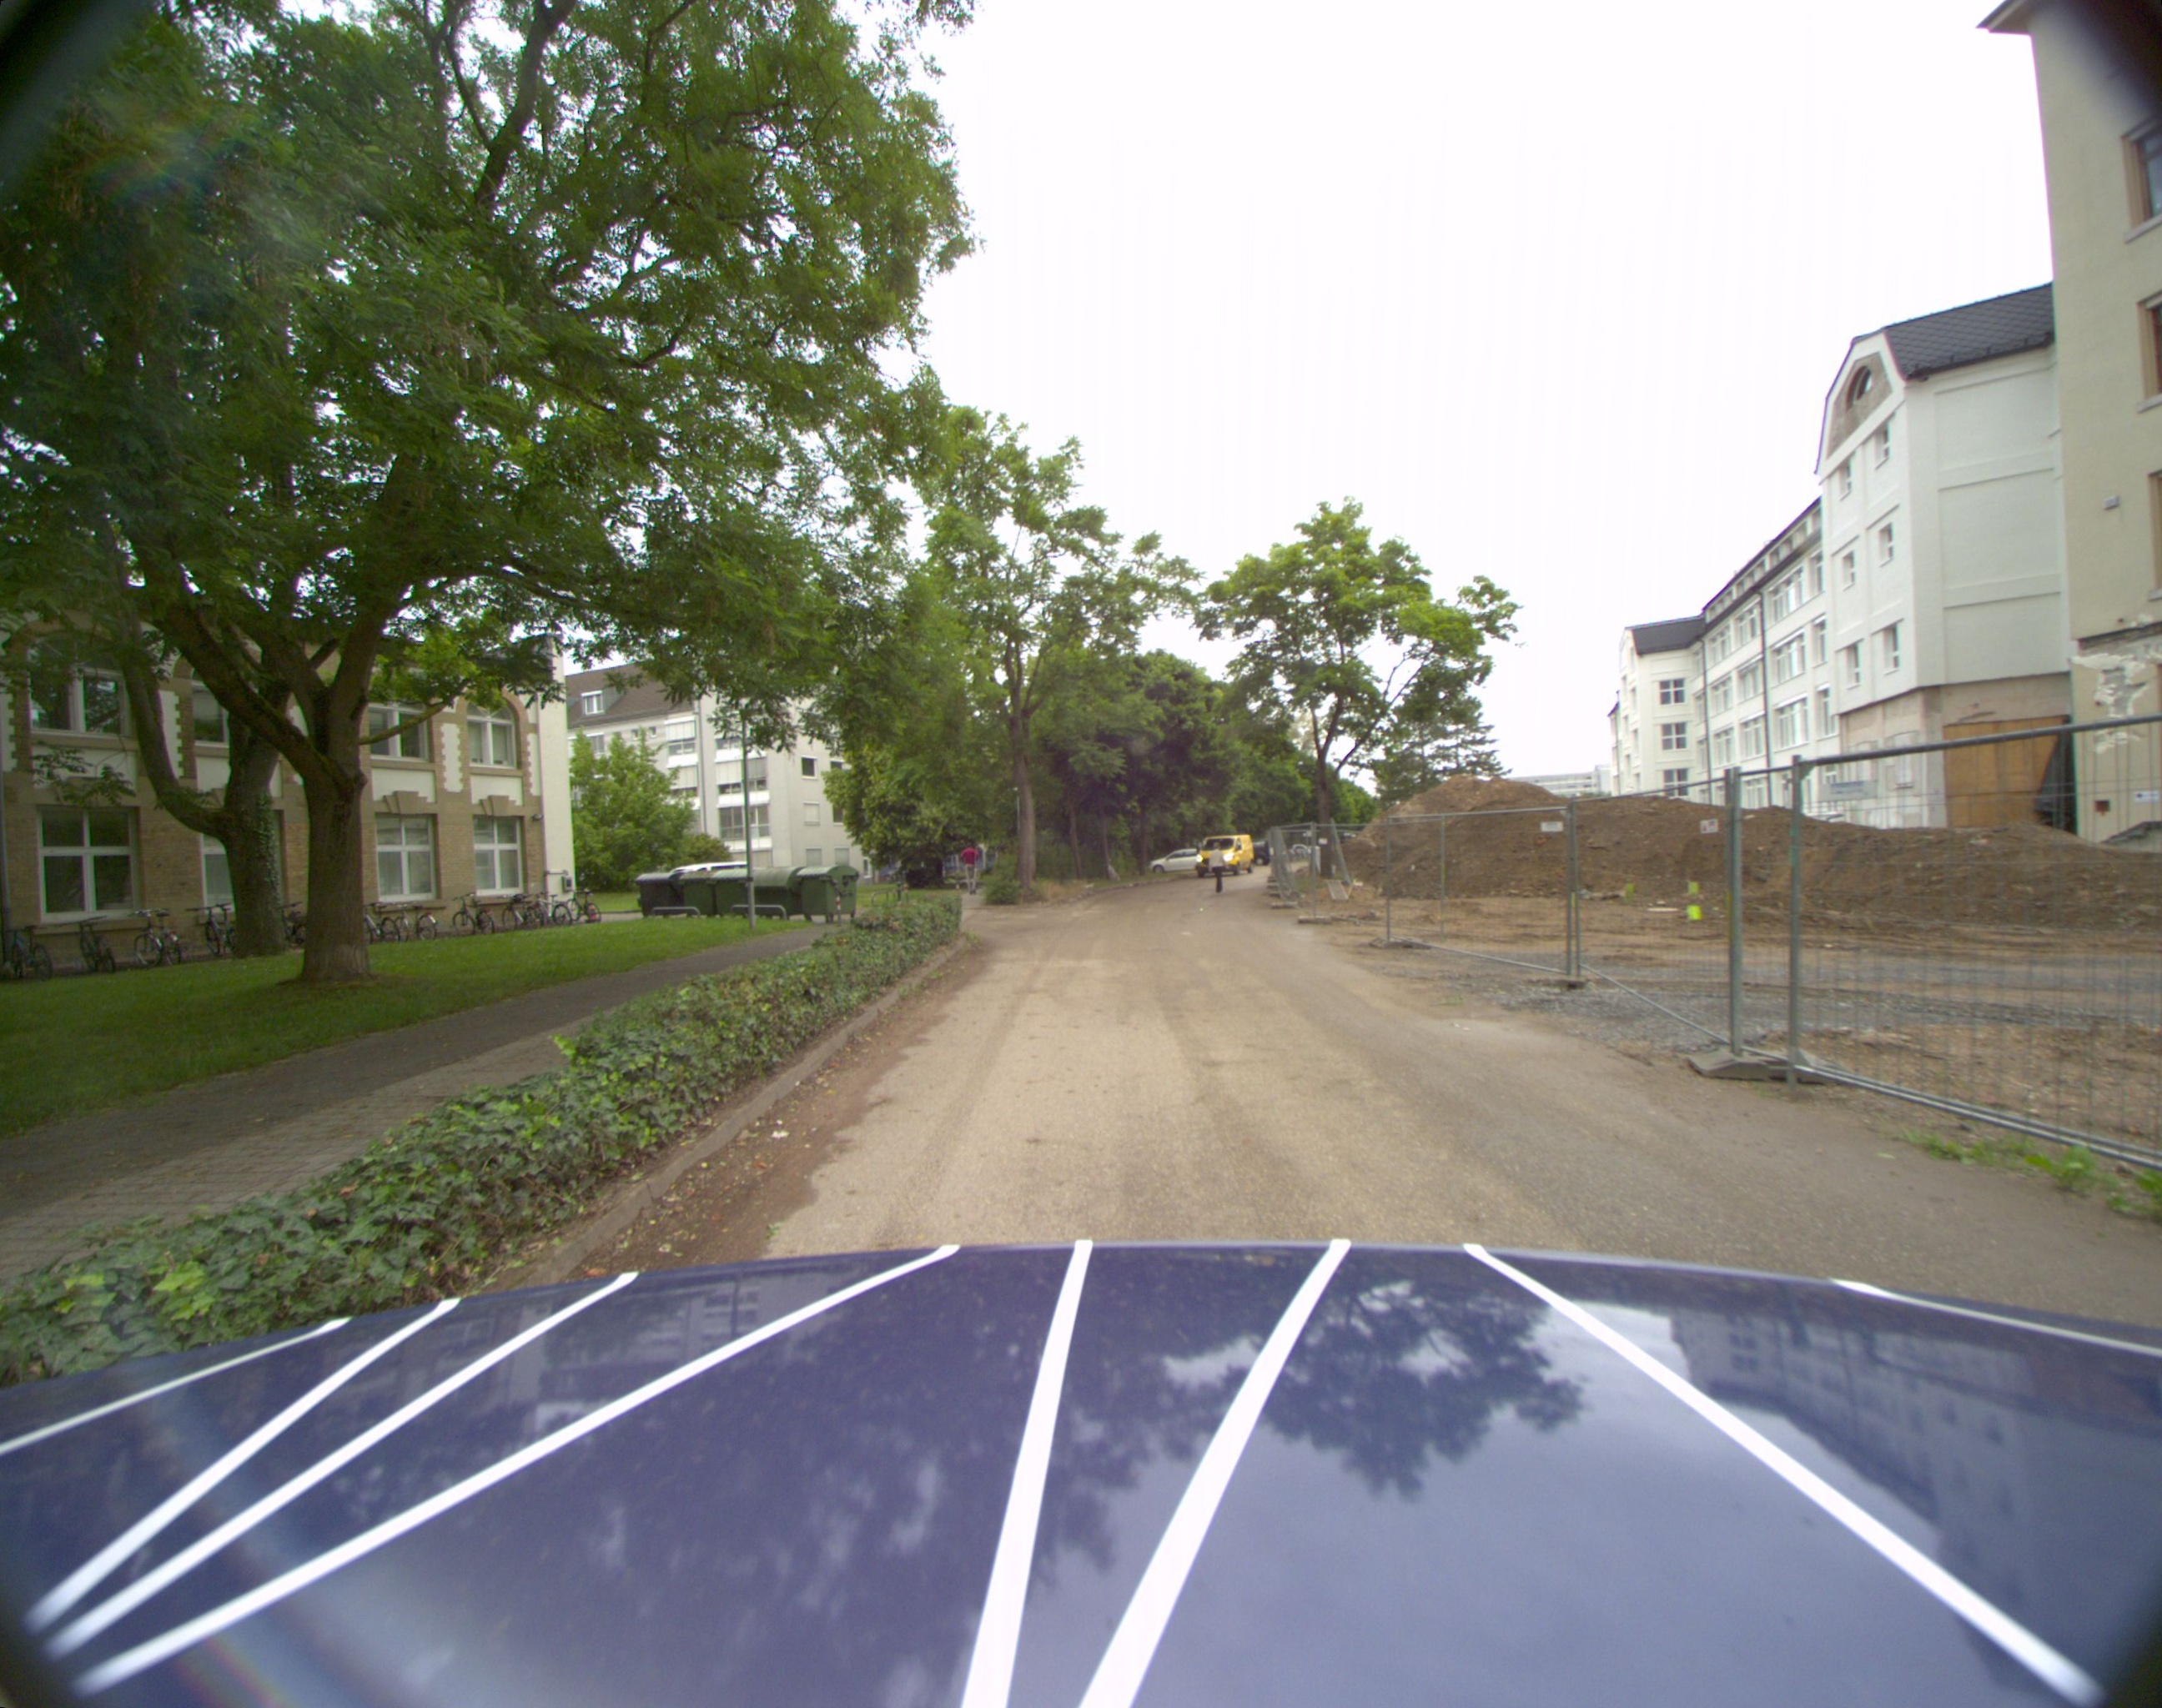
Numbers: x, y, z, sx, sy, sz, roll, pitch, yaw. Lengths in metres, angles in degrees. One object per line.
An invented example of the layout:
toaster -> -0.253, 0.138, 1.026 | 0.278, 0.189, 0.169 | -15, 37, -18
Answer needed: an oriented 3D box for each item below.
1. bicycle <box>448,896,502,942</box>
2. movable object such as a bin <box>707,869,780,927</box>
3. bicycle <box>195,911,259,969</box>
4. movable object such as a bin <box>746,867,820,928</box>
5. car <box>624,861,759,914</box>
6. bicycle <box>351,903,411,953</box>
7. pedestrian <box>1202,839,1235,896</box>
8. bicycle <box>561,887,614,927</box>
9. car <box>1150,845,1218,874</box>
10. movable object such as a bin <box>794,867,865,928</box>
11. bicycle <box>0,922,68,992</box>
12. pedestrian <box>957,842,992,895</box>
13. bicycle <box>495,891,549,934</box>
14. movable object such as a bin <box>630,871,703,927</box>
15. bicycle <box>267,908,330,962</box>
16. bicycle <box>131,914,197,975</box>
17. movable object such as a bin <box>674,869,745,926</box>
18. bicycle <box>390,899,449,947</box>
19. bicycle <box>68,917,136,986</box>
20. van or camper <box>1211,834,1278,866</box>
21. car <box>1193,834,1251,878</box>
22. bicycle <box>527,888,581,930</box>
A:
bicycle -> -15.677, 1.674, 19.644 | 1.740, 1.108, 0.461 | -2, 1, 30
movable object such as a bin -> -9.005, 1.155, 20.293 | 1.291, 1.442, 1.110 | -3, 1, 23
bicycle -> -17.761, 1.771, 15.796 | 1.740, 1.108, 0.461 | -2, 1, 28
movable object such as a bin -> -7.647, 1.111, 19.516 | 1.283, 1.442, 1.110 | -3, 1, 23
car -> -16.590, 1.384, 32.655 | 1.897, 1.862, 4.781 | -5, -1, 28
bicycle -> -16.571, 1.738, 17.973 | 1.740, 1.108, 0.461 | -2, 1, 28
pedestrian -> 4.412, 0.440, 24.378 | 0.752, 1.771, 0.661 | -3, 1, -24
bicycle -> -14.509, 1.563, 22.315 | 1.740, 1.108, 0.461 | -2, 1, 28
car -> 6.322, 0.322, 46.540 | 3.879, 1.565, 1.754 | -2, 1, 15
movable object such as a bin -> -6.263, 1.071, 18.953 | 1.272, 1.426, 1.074 | -2, 1, 36
bicycle -> -18.713, 1.813, 13.569 | 1.740, 1.108, 0.461 | -1, 1, 28
pedestrian -> -4.256, 0.566, 30.350 | 0.793, 2.052, 1.203 | -2, 1, 23
bicycle -> -15.321, 1.609, 20.815 | 1.740, 1.108, 0.461 | -2, 1, 28
movable object such as a bin -> -11.703, 1.260, 21.472 | 1.359, 1.442, 1.110 | -3, 1, 21
bicycle -> -17.143, 1.751, 16.627 | 1.740, 1.108, 0.461 | -2, 1, 28
bicycle -> -18.069, 1.761, 14.964 | 1.740, 1.108, 0.461 | -2, 1, 28
movable object such as a bin -> -10.248, 1.196, 20.986 | 1.324, 1.442, 1.110 | -3, 1, 23
bicycle -> -16.229, 1.682, 18.631 | 1.740, 1.108, 0.461 | -2, 1, 28
bicycle -> -18.287, 1.796, 14.188 | 1.740, 1.108, 0.461 | 0, 2, 28
van or camper -> 12.405, -0.322, 57.721 | 4.490, 2.245, 2.003 | -2, 1, 27
car -> 7.021, 0.063, 37.568 | 2.121, 2.002, 4.005 | -2, 0, 20
bicycle -> -14.961, 1.557, 21.550 | 1.740, 1.108, 0.461 | -2, 1, 28
